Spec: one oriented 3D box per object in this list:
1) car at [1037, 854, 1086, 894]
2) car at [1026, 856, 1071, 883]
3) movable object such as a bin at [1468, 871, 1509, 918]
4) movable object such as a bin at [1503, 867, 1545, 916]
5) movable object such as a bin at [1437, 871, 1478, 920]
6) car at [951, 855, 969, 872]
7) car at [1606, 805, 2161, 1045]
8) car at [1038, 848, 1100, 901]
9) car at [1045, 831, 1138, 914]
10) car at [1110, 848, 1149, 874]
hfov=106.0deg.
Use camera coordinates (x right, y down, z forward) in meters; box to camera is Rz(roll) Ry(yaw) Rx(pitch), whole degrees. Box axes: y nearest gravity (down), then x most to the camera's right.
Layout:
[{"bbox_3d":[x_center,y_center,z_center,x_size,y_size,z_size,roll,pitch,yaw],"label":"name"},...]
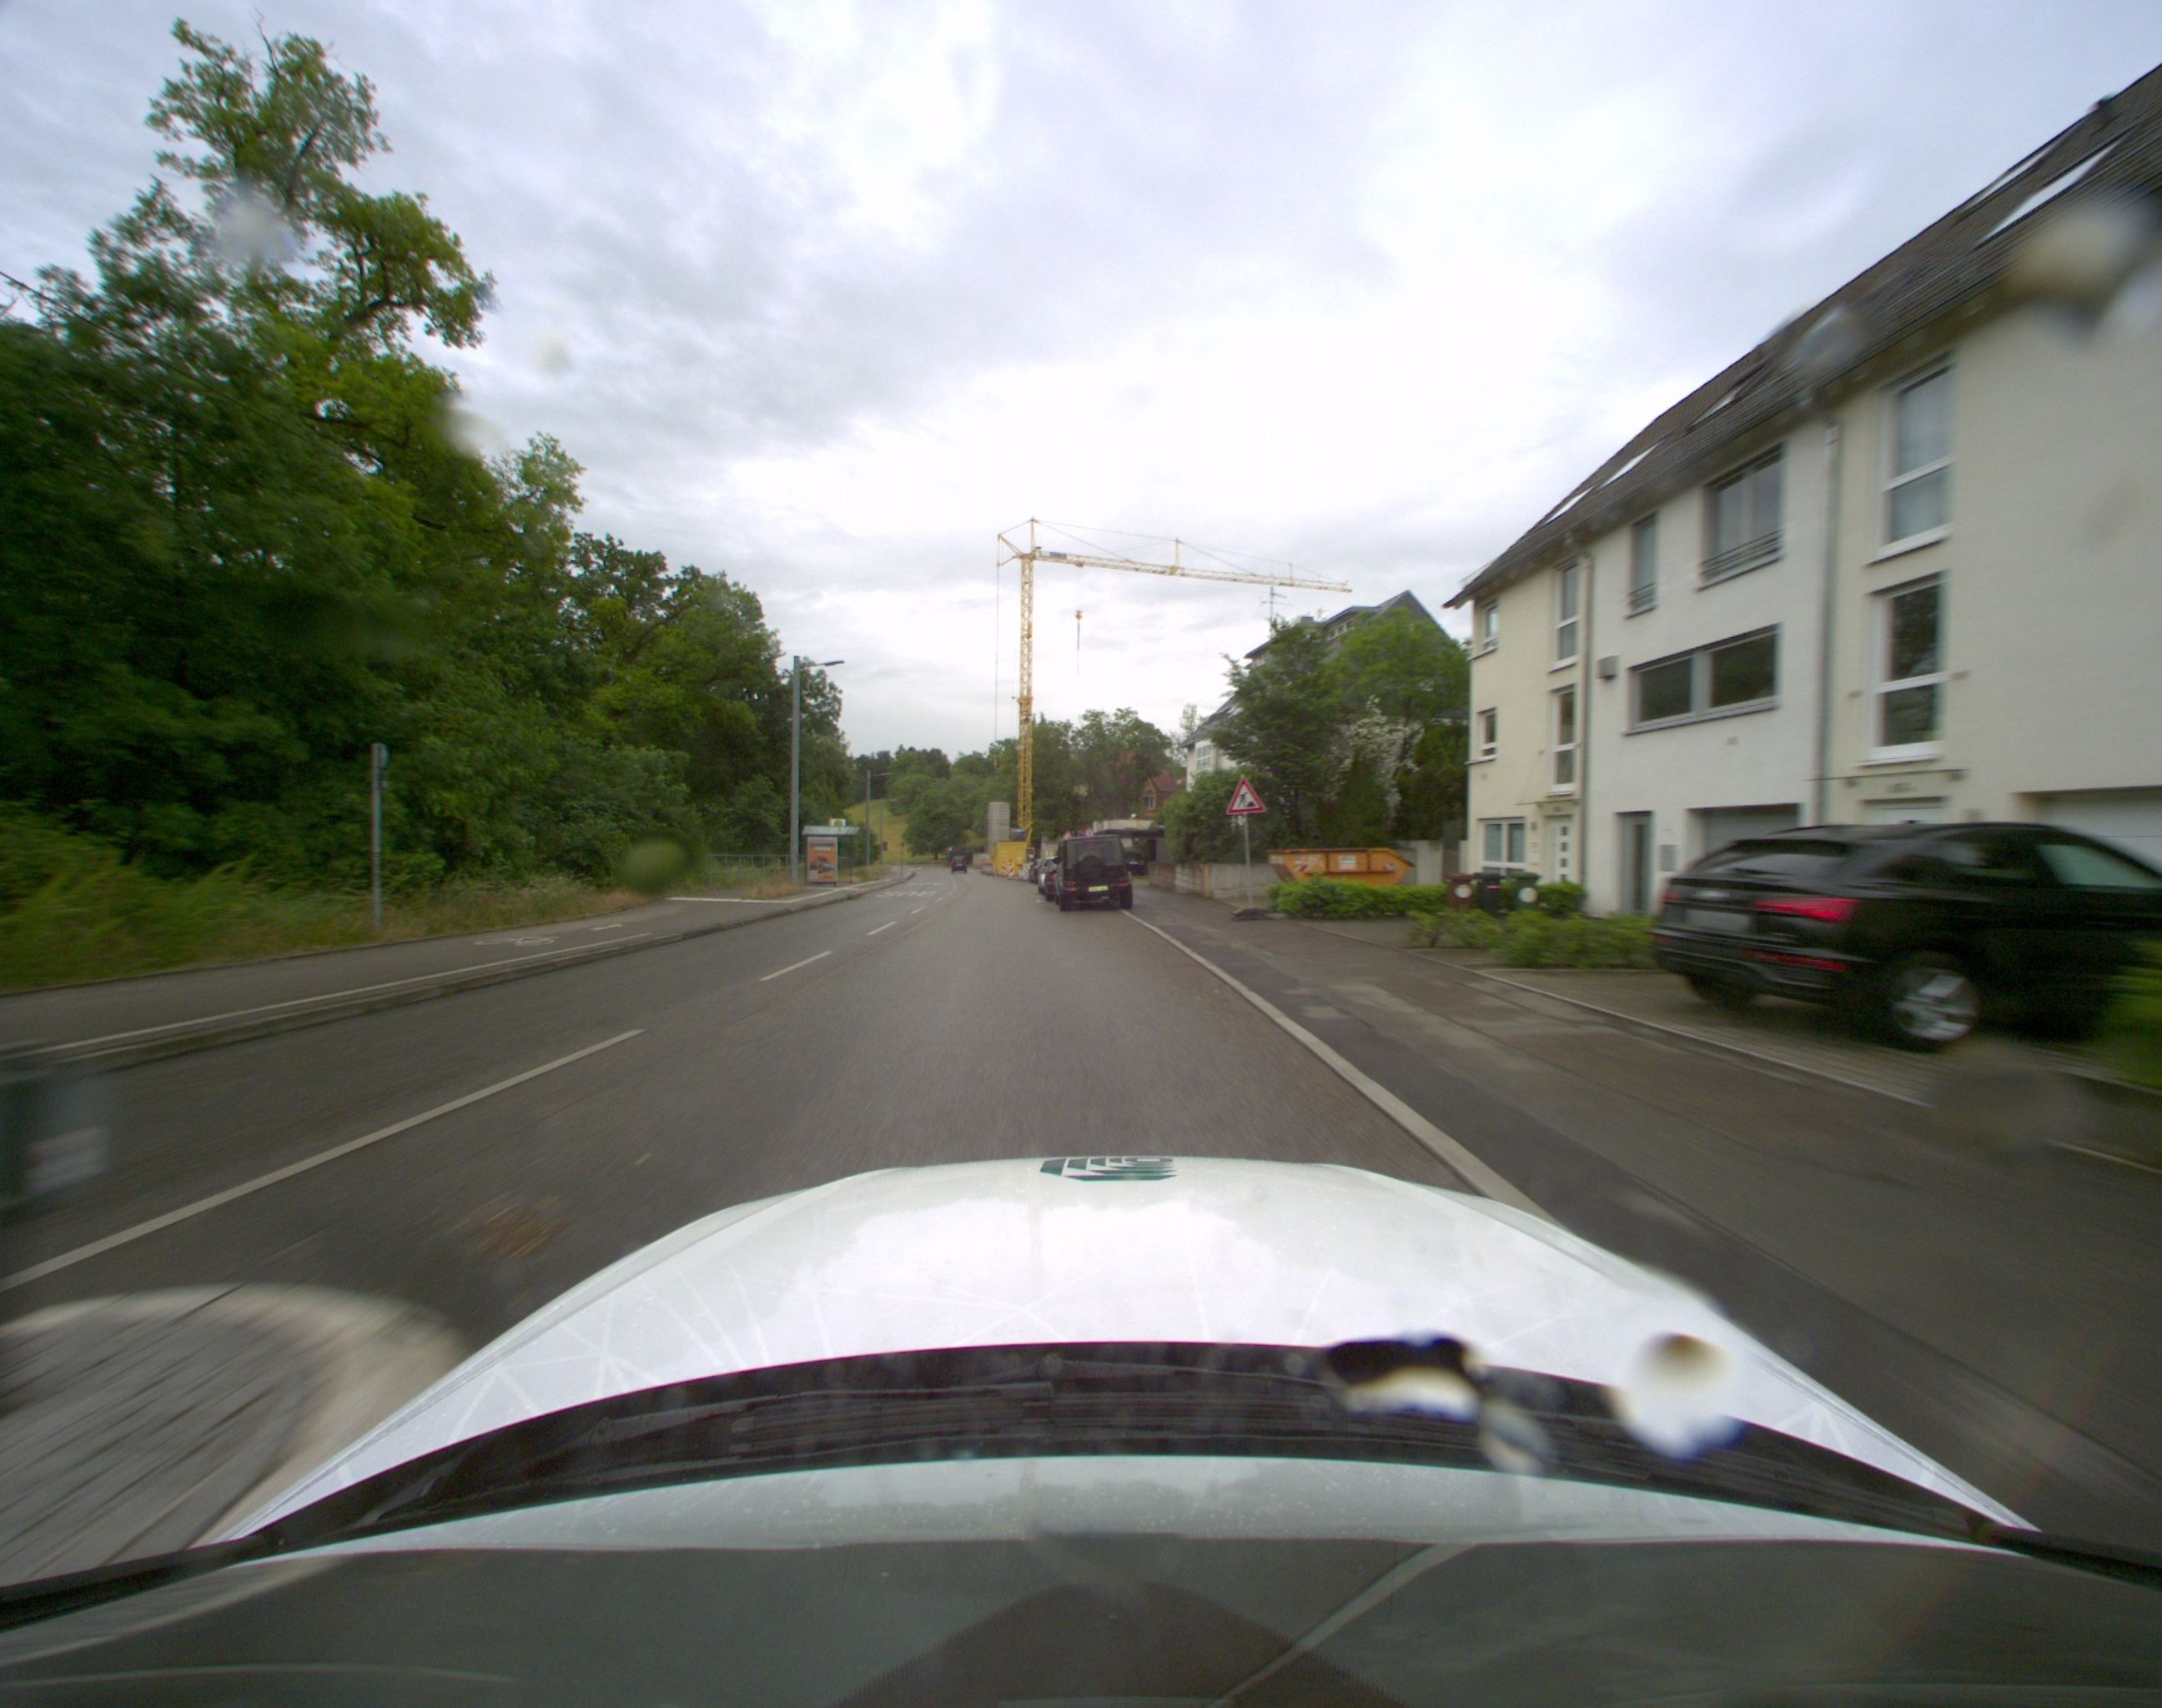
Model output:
[{"bbox_3d":[-0.840,0.751,32.458,1.671,1.457,3.379,-2,0,-6],"label":"car"},{"bbox_3d":[-1.917,0.844,46.782,1.932,1.422,4.820,-1,0,-10],"label":"car"},{"bbox_3d":[8.292,0.815,16.580,0.506,0.911,0.594,-1,0,-5],"label":"movable object such as a bin"},{"bbox_3d":[9.060,0.763,16.676,0.506,0.955,0.594,-1,0,-5],"label":"movable object such as a bin"},{"bbox_3d":[7.653,0.833,16.572,0.506,0.941,0.594,-1,0,-5],"label":"movable object such as a bin"},{"bbox_3d":[-13.245,0.988,89.086,1.932,1.751,3.987,-1,0,-9],"label":"car"},{"bbox_3d":[7.118,0.545,6.742,4.318,1.596,1.990,2,-1,-3],"label":"car"},{"bbox_3d":[-0.490,0.671,28.292,1.928,1.596,4.389,-3,0,-3],"label":"car"},{"bbox_3d":[0.171,0.481,23.272,1.991,2.013,4.945,-3,0,-6],"label":"car"},{"bbox_3d":[2.957,0.441,50.071,1.693,1.472,3.991,2,-1,-6],"label":"car"}]
